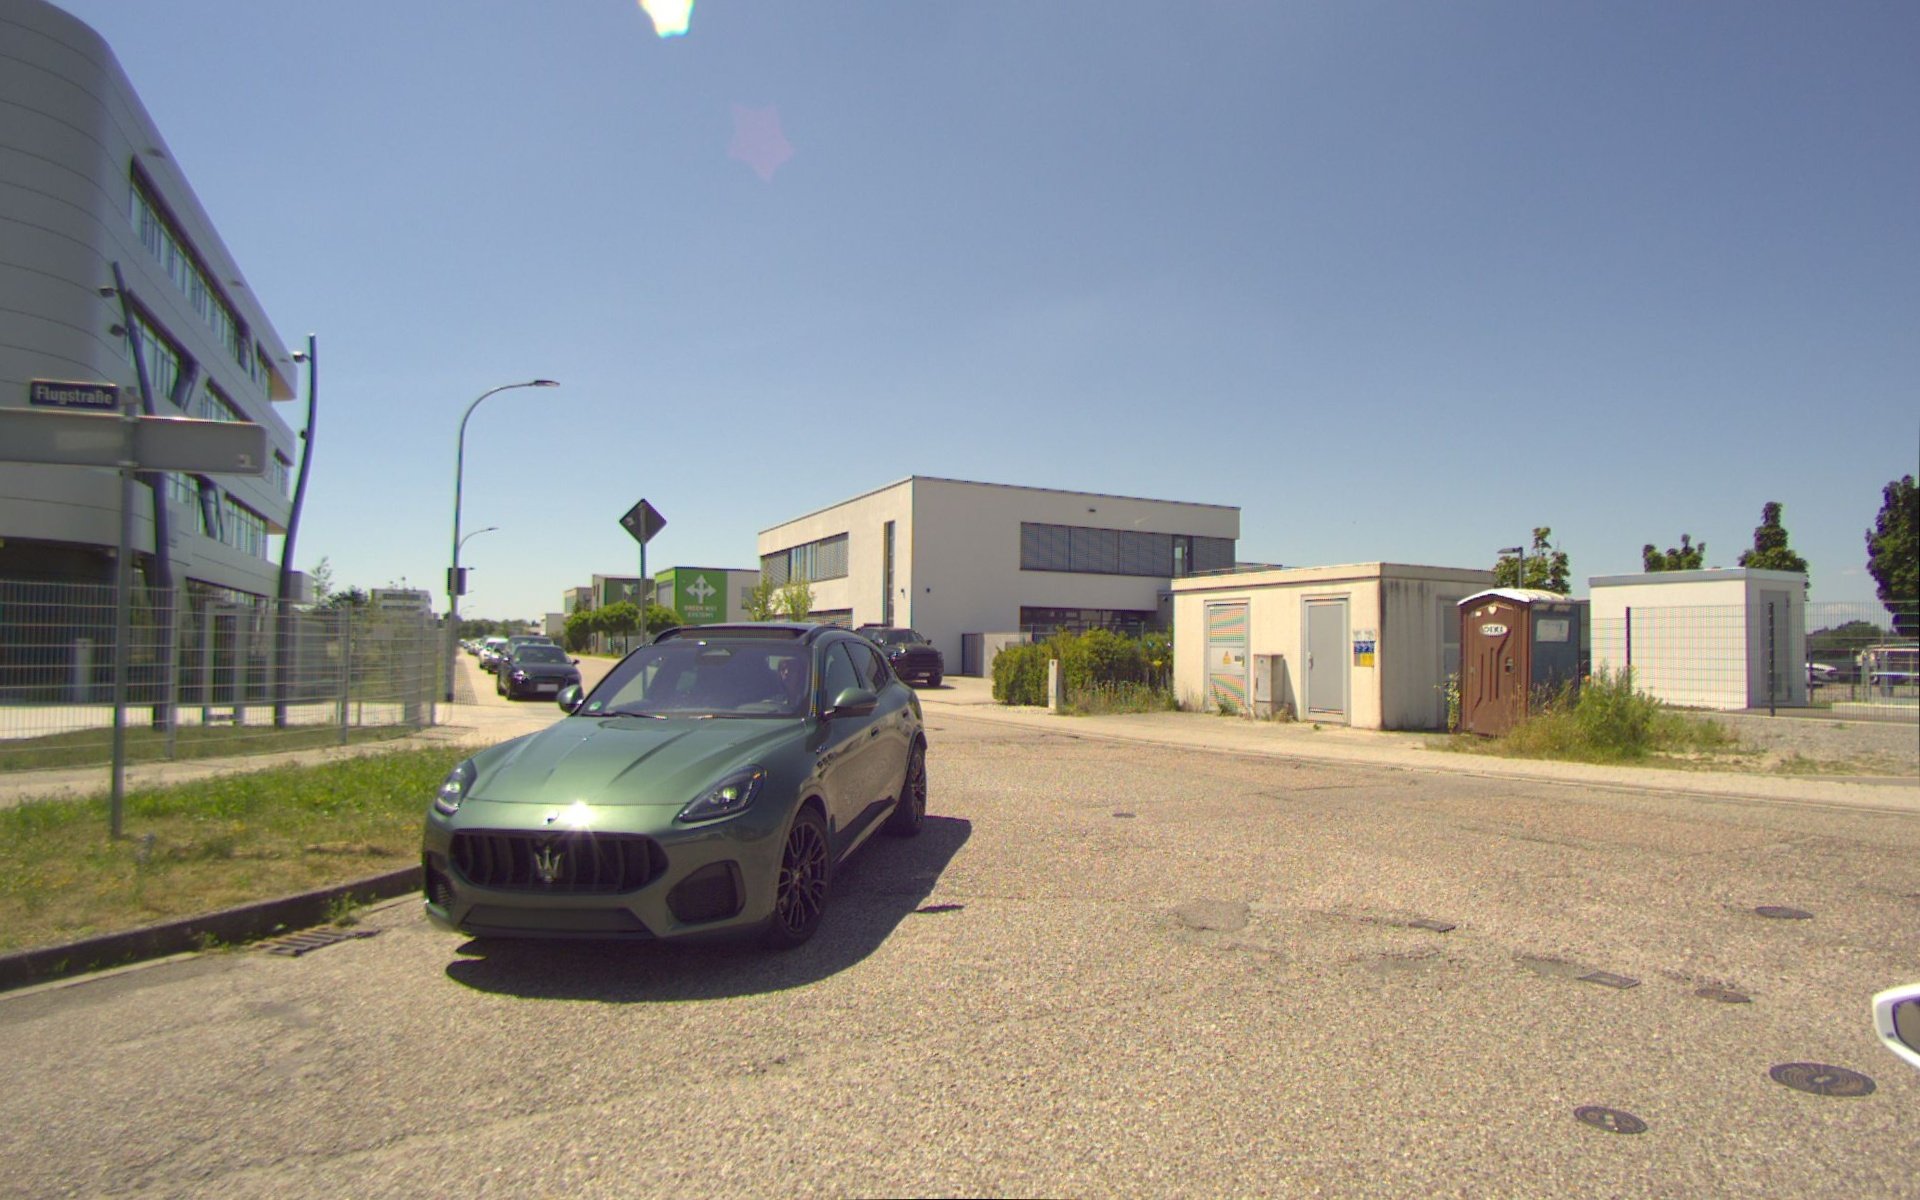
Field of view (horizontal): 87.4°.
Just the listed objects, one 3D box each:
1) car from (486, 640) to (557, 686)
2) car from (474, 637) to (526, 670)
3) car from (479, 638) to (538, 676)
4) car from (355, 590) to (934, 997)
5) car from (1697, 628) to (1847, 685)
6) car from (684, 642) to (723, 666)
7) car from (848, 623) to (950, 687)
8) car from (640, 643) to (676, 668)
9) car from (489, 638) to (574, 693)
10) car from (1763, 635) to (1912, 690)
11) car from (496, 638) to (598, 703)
[{"bbox_3d":[-16.491,2.367,37.715,1.977,1.560,3.970,5,-5,-29],"label":"car"},{"bbox_3d":[-23.317,2.707,50.870,1.977,1.560,3.970,5,-5,-29],"label":"car"},{"bbox_3d":[-20.299,2.570,45.089,1.977,1.560,3.970,5,-5,-29],"label":"car"},{"bbox_3d":[-1.485,0.994,6.664,1.918,1.729,4.517,-2,-4,7],"label":"car"},{"bbox_3d":[30.775,2.140,38.208,1.974,2.040,3.975,1,-3,-26],"label":"car"},{"bbox_3d":[-17.243,3.645,67.526,1.552,1.572,3.970,2,-3,-29],"label":"car"},{"bbox_3d":[-2.156,1.879,34.439,1.976,2.040,3.970,2,-3,-29],"label":"car"},{"bbox_3d":[-19.936,3.629,66.232,1.618,1.617,3.974,1,-3,-26],"label":"car"},{"bbox_3d":[-13.676,2.061,31.949,1.977,1.560,3.970,5,-5,-29],"label":"car"},{"bbox_3d":[34.489,2.428,39.590,1.974,2.040,3.975,1,-3,-26],"label":"car"},{"bbox_3d":[-11.126,1.861,26.927,1.977,1.560,3.970,5,-5,-29],"label":"car"}]
